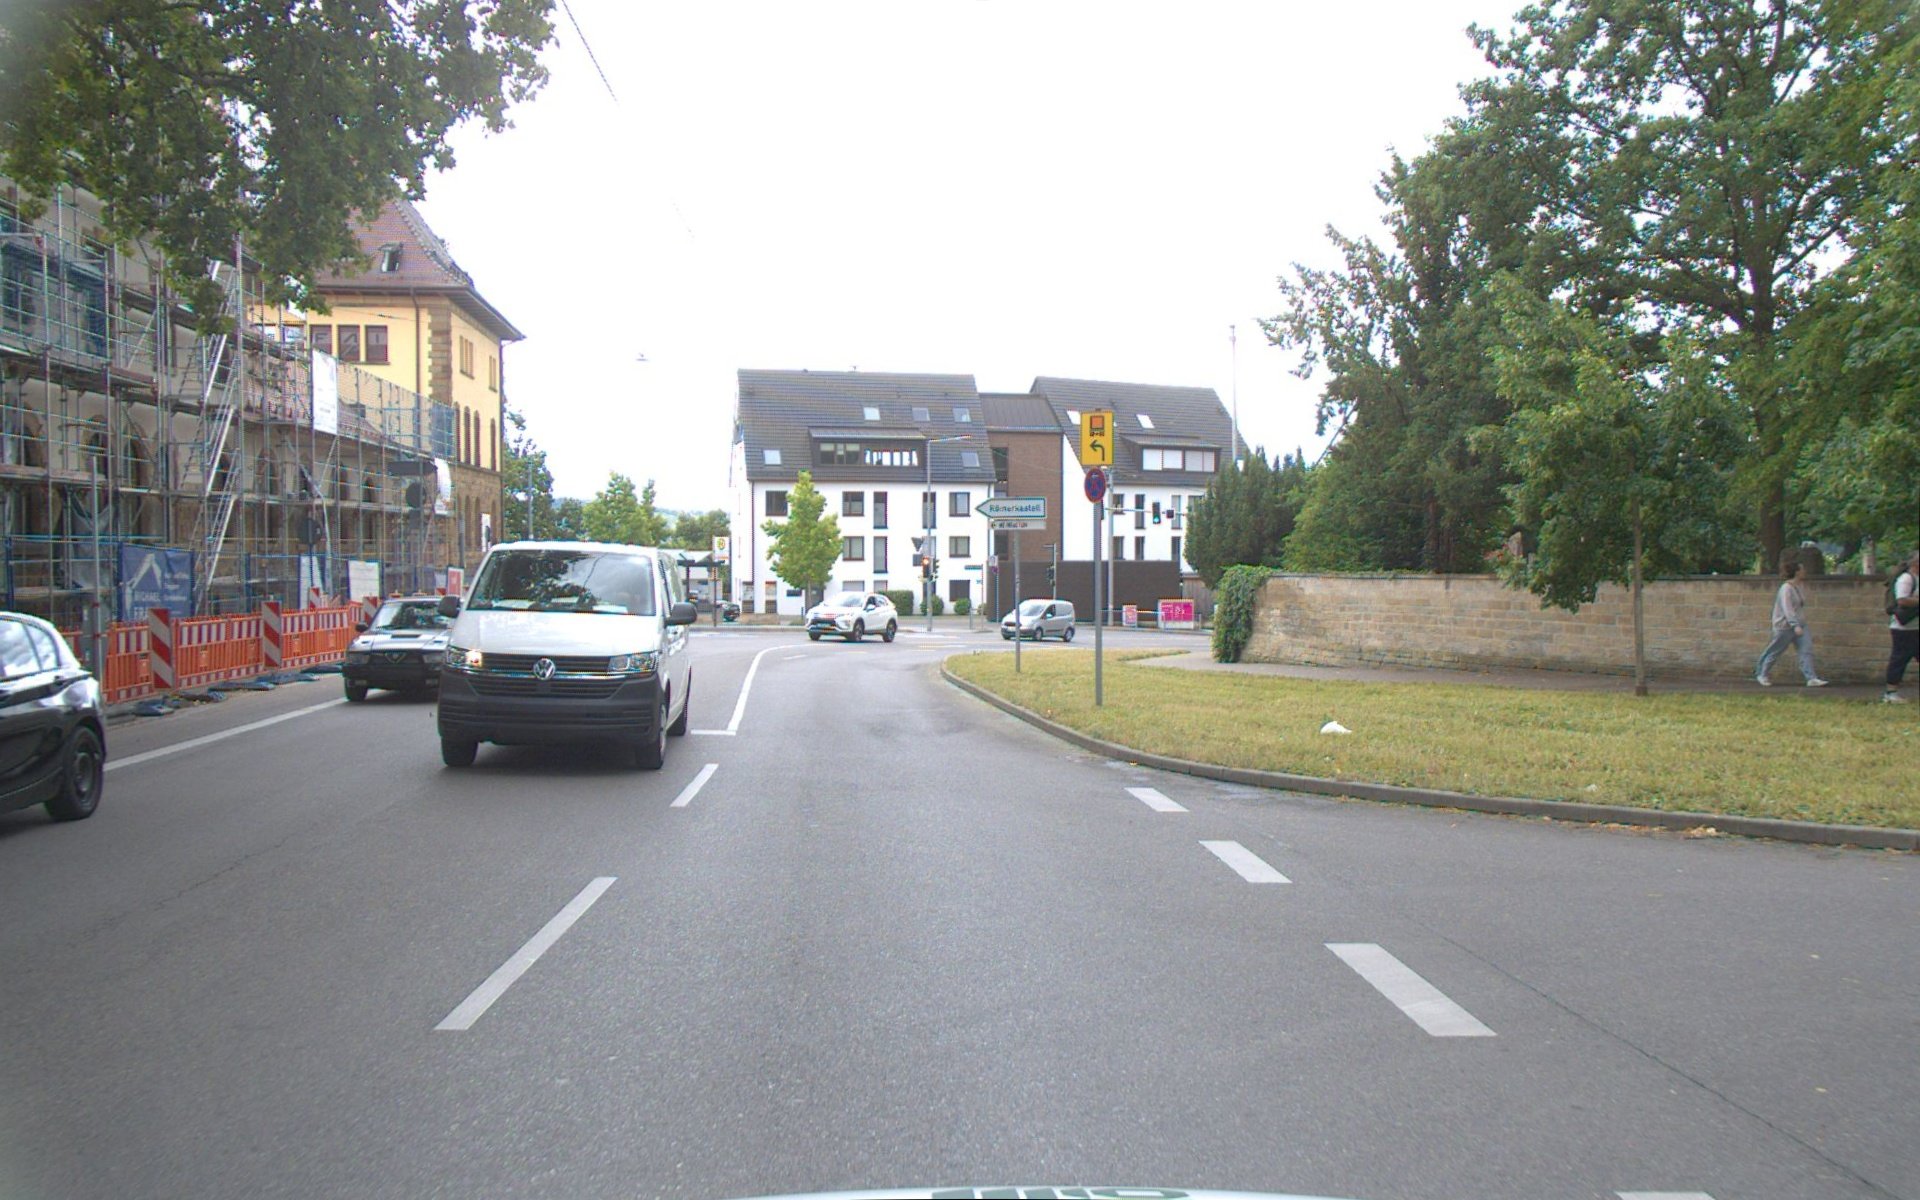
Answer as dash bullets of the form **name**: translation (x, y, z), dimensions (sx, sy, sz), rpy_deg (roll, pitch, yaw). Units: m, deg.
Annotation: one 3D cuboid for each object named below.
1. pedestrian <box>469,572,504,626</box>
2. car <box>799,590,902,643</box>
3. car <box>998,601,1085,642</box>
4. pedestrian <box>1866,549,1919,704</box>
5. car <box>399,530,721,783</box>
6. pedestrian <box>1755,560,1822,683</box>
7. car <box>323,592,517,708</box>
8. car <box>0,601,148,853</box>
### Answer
- **pedestrian**: translation (-15.823, -0.032, 55.291), dimensions (0.904, 1.750, 0.798), rpy_deg (2, -1, -4)
- **car**: translation (-3.690, 0.600, 56.624), dimensions (1.754, 1.639, 4.508), rpy_deg (1, -2, 21)
- **car**: translation (3.472, 0.921, 70.023), dimensions (1.665, 1.642, 4.065), rpy_deg (1, -1, 37)
- **pedestrian**: translation (10.982, 0.294, 19.161), dimensions (0.705, 1.764, 0.651), rpy_deg (0, 1, -40)
- **car**: translation (-3.527, 0.433, 15.676), dimensions (2.162, 1.965, 5.235), rpy_deg (-1, 0, -5)
- **pedestrian**: translation (11.170, 0.278, 22.297), dimensions (0.575, 1.612, 0.568), rpy_deg (-3, 1, -35)
- **car**: translation (-7.657, 0.649, 23.897), dimensions (1.767, 1.483, 4.629), rpy_deg (-1, 0, -7)
- **car**: translation (-6.391, 0.746, 9.609), dimensions (1.667, 1.451, 4.243), rpy_deg (-1, 0, -7)
